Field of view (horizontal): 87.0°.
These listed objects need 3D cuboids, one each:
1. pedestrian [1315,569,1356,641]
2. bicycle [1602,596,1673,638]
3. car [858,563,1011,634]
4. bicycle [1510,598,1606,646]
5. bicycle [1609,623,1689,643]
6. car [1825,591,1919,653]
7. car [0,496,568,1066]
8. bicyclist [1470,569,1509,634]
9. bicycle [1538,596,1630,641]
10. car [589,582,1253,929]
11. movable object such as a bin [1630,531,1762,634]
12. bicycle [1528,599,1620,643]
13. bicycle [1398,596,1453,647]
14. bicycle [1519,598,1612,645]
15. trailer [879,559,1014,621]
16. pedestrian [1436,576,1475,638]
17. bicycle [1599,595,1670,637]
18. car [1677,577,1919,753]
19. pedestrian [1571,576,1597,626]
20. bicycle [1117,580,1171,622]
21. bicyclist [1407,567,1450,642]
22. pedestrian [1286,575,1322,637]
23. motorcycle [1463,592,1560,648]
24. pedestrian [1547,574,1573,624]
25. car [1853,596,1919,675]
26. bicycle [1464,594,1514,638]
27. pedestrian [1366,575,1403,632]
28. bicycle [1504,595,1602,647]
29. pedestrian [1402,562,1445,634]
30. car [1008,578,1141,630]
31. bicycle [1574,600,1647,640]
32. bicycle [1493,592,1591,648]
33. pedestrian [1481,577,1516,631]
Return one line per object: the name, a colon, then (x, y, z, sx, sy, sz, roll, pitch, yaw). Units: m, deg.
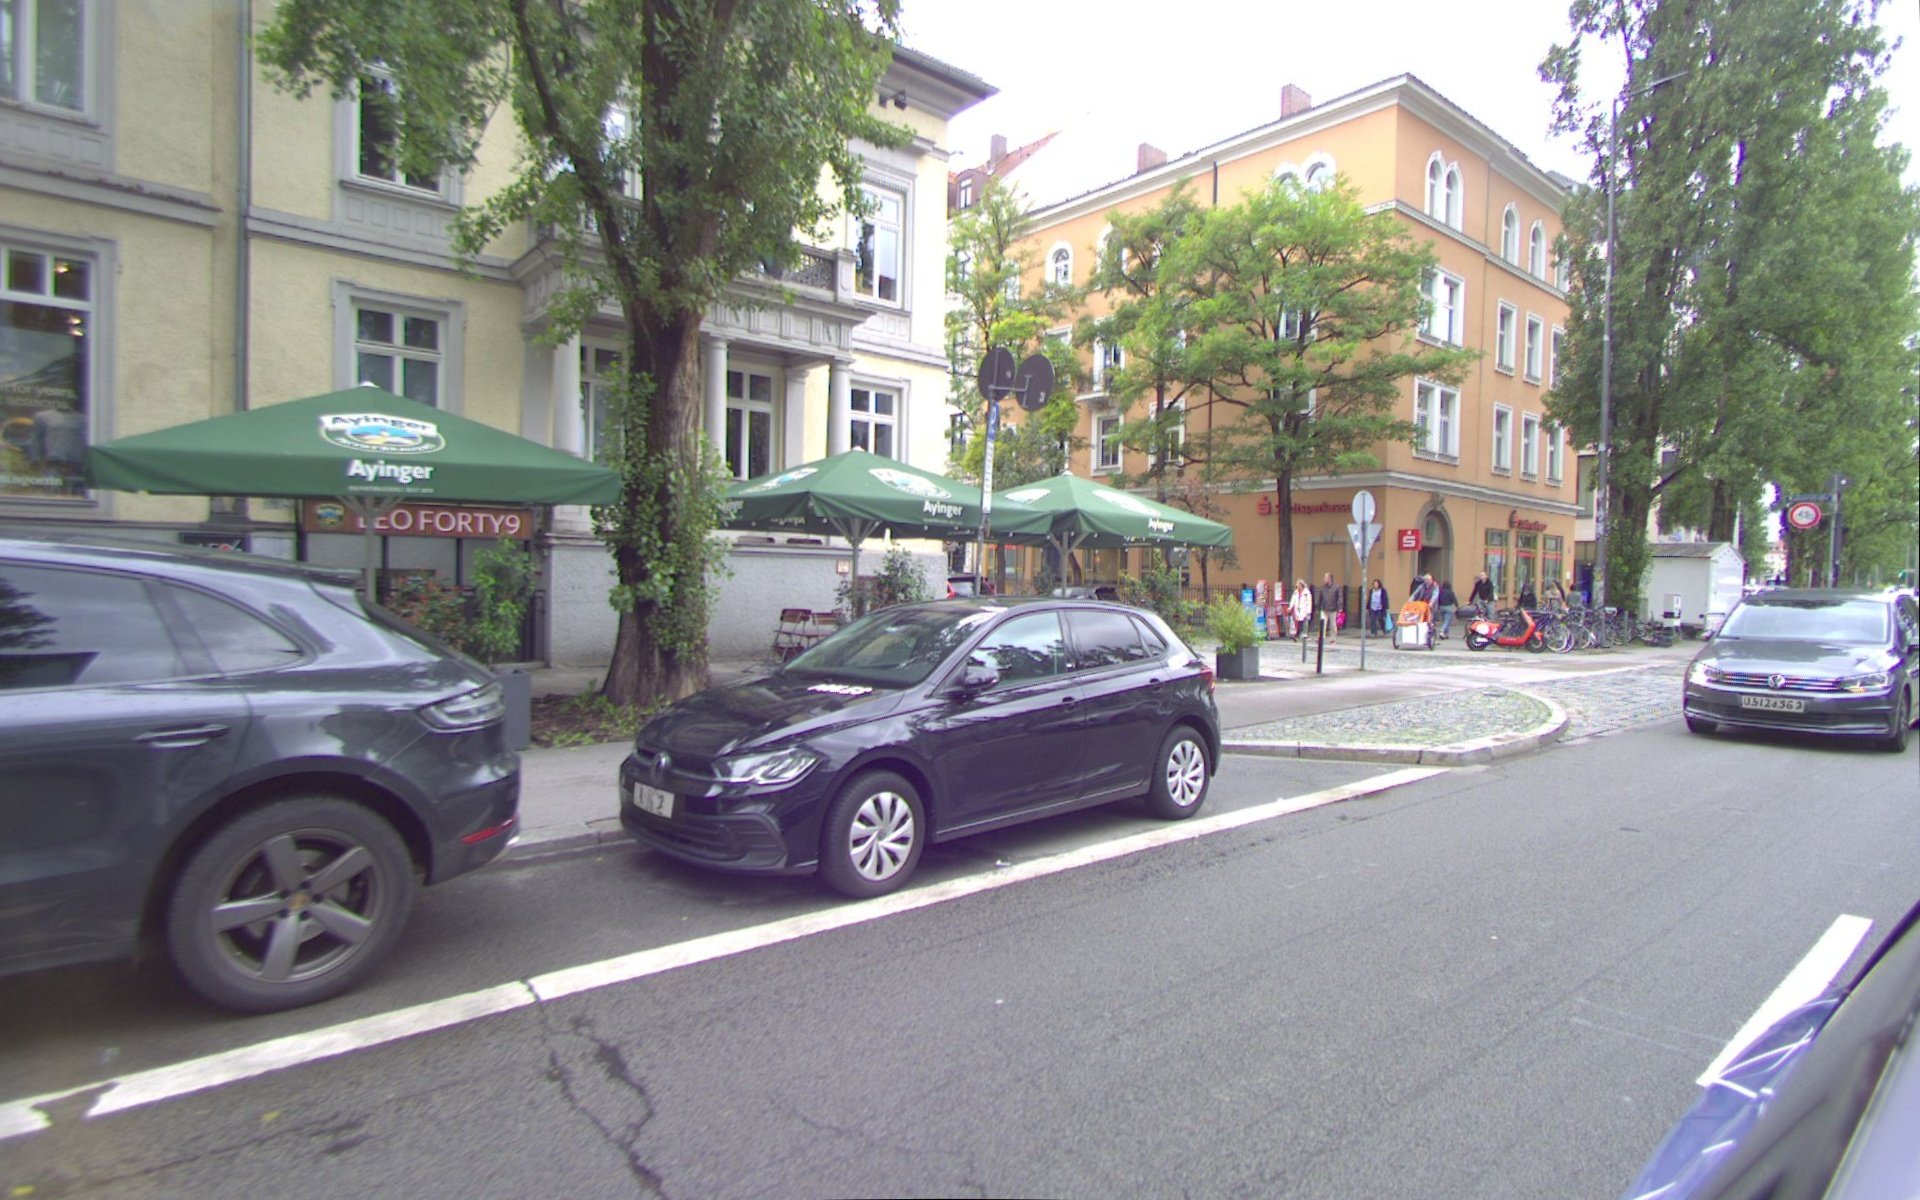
pedestrian: (9.470, 0.110, 25.545, 0.718, 1.788, 0.699, 0, 0, -38)
bicycle: (18.761, 0.462, 28.048, 1.588, 1.098, 0.339, 2, 1, 28)
car: (-0.770, -0.052, 27.101, 1.934, 1.723, 4.429, 0, 0, -36)
bicycle: (14.771, 0.526, 25.046, 0.551, 1.102, 1.945, 0, 1, -39)
bicycle: (18.512, 0.882, 27.199, 1.672, 0.378, 0.818, 4, 3, 42)
car: (25.575, 0.561, 28.086, 4.421, 1.572, 1.787, 0, 1, -42)
car: (-3.782, 0.516, 3.249, 4.371, 1.658, 1.805, 0, 1, -42)
bicyclist: (14.253, 0.027, 27.242, 0.739, 1.708, 0.737, 2, 1, 42)
bicycle: (16.285, 0.463, 26.445, 0.551, 1.098, 1.945, 0, 1, -39)
car: (-0.015, 0.641, 6.190, 3.884, 1.434, 1.696, 0, 1, -43)
movable object such as a bin: (24.465, -0.595, 33.589, 4.463, 3.175, 2.445, 0, 3, -40)
bicycle: (15.728, 0.529, 25.963, 0.551, 1.022, 1.945, 0, 1, -39)
bicycle: (11.256, 0.484, 24.427, 0.881, 1.134, 2.076, 2, 1, 34)
bicycle: (15.277, 0.515, 25.578, 0.551, 1.089, 1.945, 0, 1, -39)
trailer: (-0.566, -0.364, 36.307, 1.873, 2.054, 5.247, 1, 0, -41)
pedestrian: (13.637, 0.178, 27.842, 0.758, 1.682, 0.744, 0, 0, -44)
bicycle: (18.903, 0.440, 28.383, 1.593, 1.098, 0.319, 2, 1, 28)
car: (9.717, 0.579, 11.321, 4.120, 1.611, 1.881, 0, 1, -42)
pedestrian: (21.561, 0.017, 34.965, 0.565, 1.715, 0.618, 0, 0, -43)
bicycle: (6.324, 0.022, 34.917, 0.551, 1.389, 1.945, 1, 0, -39)
bicyclist: (11.404, 0.097, 24.639, 0.825, 1.779, 0.659, 2, 1, 34)
pedestrian: (8.984, 0.146, 26.414, 0.564, 1.590, 0.699, 0, 0, -38)
motorcycle: (12.929, 0.447, 23.790, 1.939, 1.236, 0.510, 2, 1, 25)
pedestrian: (20.832, -0.038, 35.153, 0.565, 1.715, 0.633, 0, 0, -42)
car: (19.380, 0.658, 19.877, 3.923, 1.451, 1.619, 0, 0, -30)
bicycle: (14.274, 0.403, 27.278, 0.735, 1.134, 2.071, 2, 1, 41)
pedestrian: (12.053, 0.079, 28.720, 0.651, 1.590, 0.746, 0, 0, -38)
bicycle: (14.356, 0.488, 24.548, 0.551, 1.151, 1.945, 0, 1, -39)
pedestrian: (12.968, -0.067, 28.314, 0.788, 1.973, 0.838, 0, 0, -42)
car: (3.590, 0.109, 32.262, 1.873, 1.539, 3.993, 0, 1, -41)
bicycle: (17.492, 0.525, 27.228, 1.597, 1.022, 0.337, 2, 1, 43)
bicycle: (13.860, 0.453, 24.156, 0.551, 1.255, 1.945, 1, 1, -39)
pedestrian: (15.991, 0.119, 30.067, 0.603, 1.590, 0.746, 0, 0, -38)
